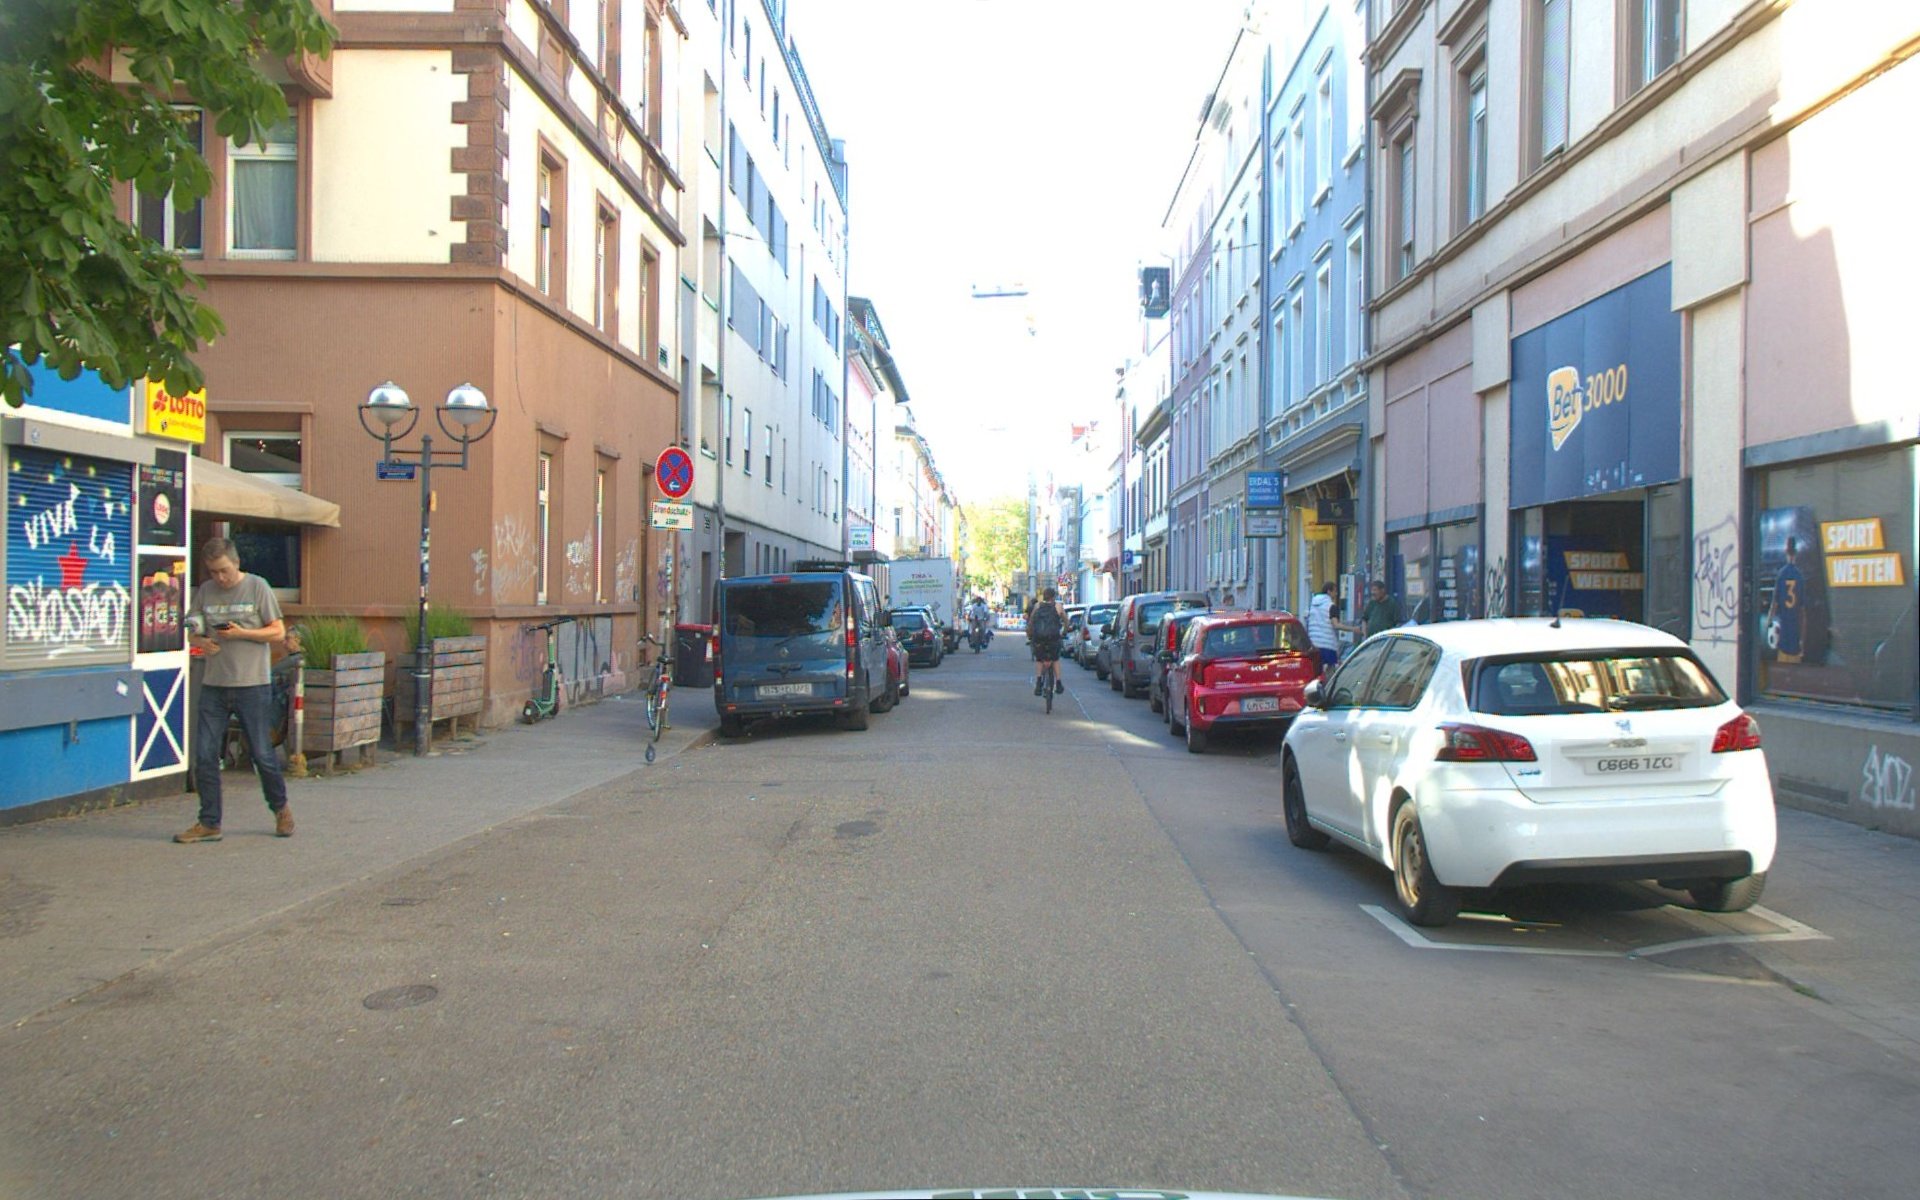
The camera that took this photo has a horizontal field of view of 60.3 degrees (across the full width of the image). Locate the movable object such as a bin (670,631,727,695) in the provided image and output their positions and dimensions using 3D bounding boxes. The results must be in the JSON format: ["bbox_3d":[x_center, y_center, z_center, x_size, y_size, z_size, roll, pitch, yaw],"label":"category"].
[{"bbox_3d":[-4.579,1.095,28.988,0.743,1.085,0.651,1,-1,21],"label":"movable object such as a bin"}]

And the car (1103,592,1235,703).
[{"bbox_3d":[3.718,0.831,30.082,1.860,1.825,4.315,2,-1,1],"label":"car"}]

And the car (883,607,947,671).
[{"bbox_3d":[-1.296,1.125,49.374,1.681,1.679,4.246,-2,1,1],"label":"car"}]

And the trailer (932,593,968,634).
[{"bbox_3d":[-0.513,0.741,89.437,1.843,2.129,3.737,0,-1,1],"label":"trailer"}]

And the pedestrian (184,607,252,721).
[{"bbox_3d":[-8.223,0.710,18.332,0.434,1.207,0.421,5,-2,1],"label":"pedestrian"}]

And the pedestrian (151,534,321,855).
[{"bbox_3d":[-4.409,0.558,10.110,0.633,1.865,0.697,3,-1,1],"label":"pedestrian"}]

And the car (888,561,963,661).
[{"bbox_3d":[-1.171,0.410,60.016,2.295,3.349,7.155,-1,-1,2],"label":"car"}]

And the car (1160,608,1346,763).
[{"bbox_3d":[3.334,0.930,19.380,1.573,1.600,3.554,2,-1,1],"label":"car"}]

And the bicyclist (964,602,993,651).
[{"bbox_3d":[0.635,0.910,56.677,0.930,1.656,0.953,-1,0,2],"label":"bicyclist"}]

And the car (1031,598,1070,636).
[{"bbox_3d":[4.684,0.881,85.979,1.714,1.912,3.971,0,-1,-1],"label":"car"}]

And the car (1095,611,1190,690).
[{"bbox_3d":[3.833,1.041,35.218,1.521,1.537,3.610,2,-1,-1],"label":"car"}]

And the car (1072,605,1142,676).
[{"bbox_3d":[3.802,1.038,43.300,1.524,1.742,3.558,2,-1,1],"label":"car"}]

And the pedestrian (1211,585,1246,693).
[{"bbox_3d":[4.395,0.629,27.084,0.432,1.734,0.655,1,-1,2],"label":"pedestrian"}]

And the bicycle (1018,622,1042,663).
[{"bbox_3d":[2.044,1.238,48.384,0.635,1.149,2.136,2,-1,1],"label":"bicycle"}]

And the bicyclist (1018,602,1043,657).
[{"bbox_3d":[2.053,0.864,48.338,0.657,1.595,0.716,2,-1,0],"label":"bicyclist"}]

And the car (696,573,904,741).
[{"bbox_3d":[-1.962,0.661,21.999,1.978,1.912,5.298,2,0,3],"label":"car"}]

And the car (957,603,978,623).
[{"bbox_3d":[0.654,1.157,142.805,1.714,1.713,3.796,0,-1,1],"label":"car"}]

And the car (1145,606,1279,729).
[{"bbox_3d":[3.576,0.932,23.950,1.537,1.584,3.315,-3,-1,3],"label":"car"}]

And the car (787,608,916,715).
[{"bbox_3d":[-1.702,0.969,27.123,1.714,1.548,3.869,-3,-1,1],"label":"car"}]

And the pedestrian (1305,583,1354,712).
[{"bbox_3d":[5.173,0.660,23.183,0.549,1.771,0.428,2,-1,0],"label":"pedestrian"}]

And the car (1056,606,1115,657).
[{"bbox_3d":[4.074,1.004,54.146,1.652,1.570,4.046,-1,-1,1],"label":"car"}]

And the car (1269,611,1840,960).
[{"bbox_3d":[3.101,0.869,9.606,1.750,1.542,4.135,2,-1,-1],"label":"car"}]

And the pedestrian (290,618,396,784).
[{"bbox_3d":[-5.634,0.909,15.130,0.691,1.471,0.617,2,-1,0],"label":"pedestrian"}]

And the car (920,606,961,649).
[{"bbox_3d":[-0.838,1.220,74.072,1.716,1.848,4.078,-1,-1,0],"label":"car"}]

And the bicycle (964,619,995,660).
[{"bbox_3d":[0.680,1.358,57.051,0.957,1.337,2.556,-1,0,2],"label":"bicycle"}]

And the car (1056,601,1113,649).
[{"bbox_3d":[4.668,0.918,62.530,1.878,1.736,4.366,0,0,1],"label":"car"}]

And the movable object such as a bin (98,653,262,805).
[{"bbox_3d":[-6.030,0.983,12.830,0.852,1.105,0.774,2,-1,2],"label":"movable object such as a bin"}]

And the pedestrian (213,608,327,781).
[{"bbox_3d":[-6.060,0.821,14.559,0.691,1.471,0.617,2,-1,0],"label":"pedestrian"}]

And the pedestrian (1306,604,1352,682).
[{"bbox_3d":[5.977,0.698,26.809,0.522,1.244,0.511,1,-1,41],"label":"pedestrian"}]

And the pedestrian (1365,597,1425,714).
[{"bbox_3d":[5.905,0.749,22.456,0.576,1.556,0.658,2,-1,-4],"label":"pedestrian"}]

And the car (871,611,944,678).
[{"bbox_3d":[-1.324,1.127,43.520,1.681,1.504,4.499,-2,1,1],"label":"car"}]

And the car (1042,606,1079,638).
[{"bbox_3d":[4.900,1.075,80.908,1.713,1.513,3.801,0,-1,3],"label":"car"}]

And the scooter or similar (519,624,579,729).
[{"bbox_3d":[-5.052,0.918,20.364,0.340,1.238,1.392,1,-1,1],"label":"scooter or similar"}]

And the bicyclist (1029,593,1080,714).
[{"bbox_3d":[1.370,0.767,24.124,0.654,1.706,1.097,2,-1,1],"label":"bicyclist"}]

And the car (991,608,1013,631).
[{"bbox_3d":[3.040,1.417,119.847,1.578,1.587,3.610,2,-1,1],"label":"car"}]

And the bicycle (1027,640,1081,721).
[{"bbox_3d":[1.357,1.154,24.136,0.663,1.093,1.942,2,-1,1],"label":"bicycle"}]

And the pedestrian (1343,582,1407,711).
[{"bbox_3d":[5.839,0.644,23.267,0.617,1.771,0.657,2,-1,-12],"label":"pedestrian"}]

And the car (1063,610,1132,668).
[{"bbox_3d":[3.957,1.119,48.187,1.662,1.570,4.629,-1,-1,1],"label":"car"}]

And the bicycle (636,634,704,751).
[{"bbox_3d":[-3.357,1.031,19.040,0.541,1.238,1.980,2,-1,-16],"label":"bicycle"}]
